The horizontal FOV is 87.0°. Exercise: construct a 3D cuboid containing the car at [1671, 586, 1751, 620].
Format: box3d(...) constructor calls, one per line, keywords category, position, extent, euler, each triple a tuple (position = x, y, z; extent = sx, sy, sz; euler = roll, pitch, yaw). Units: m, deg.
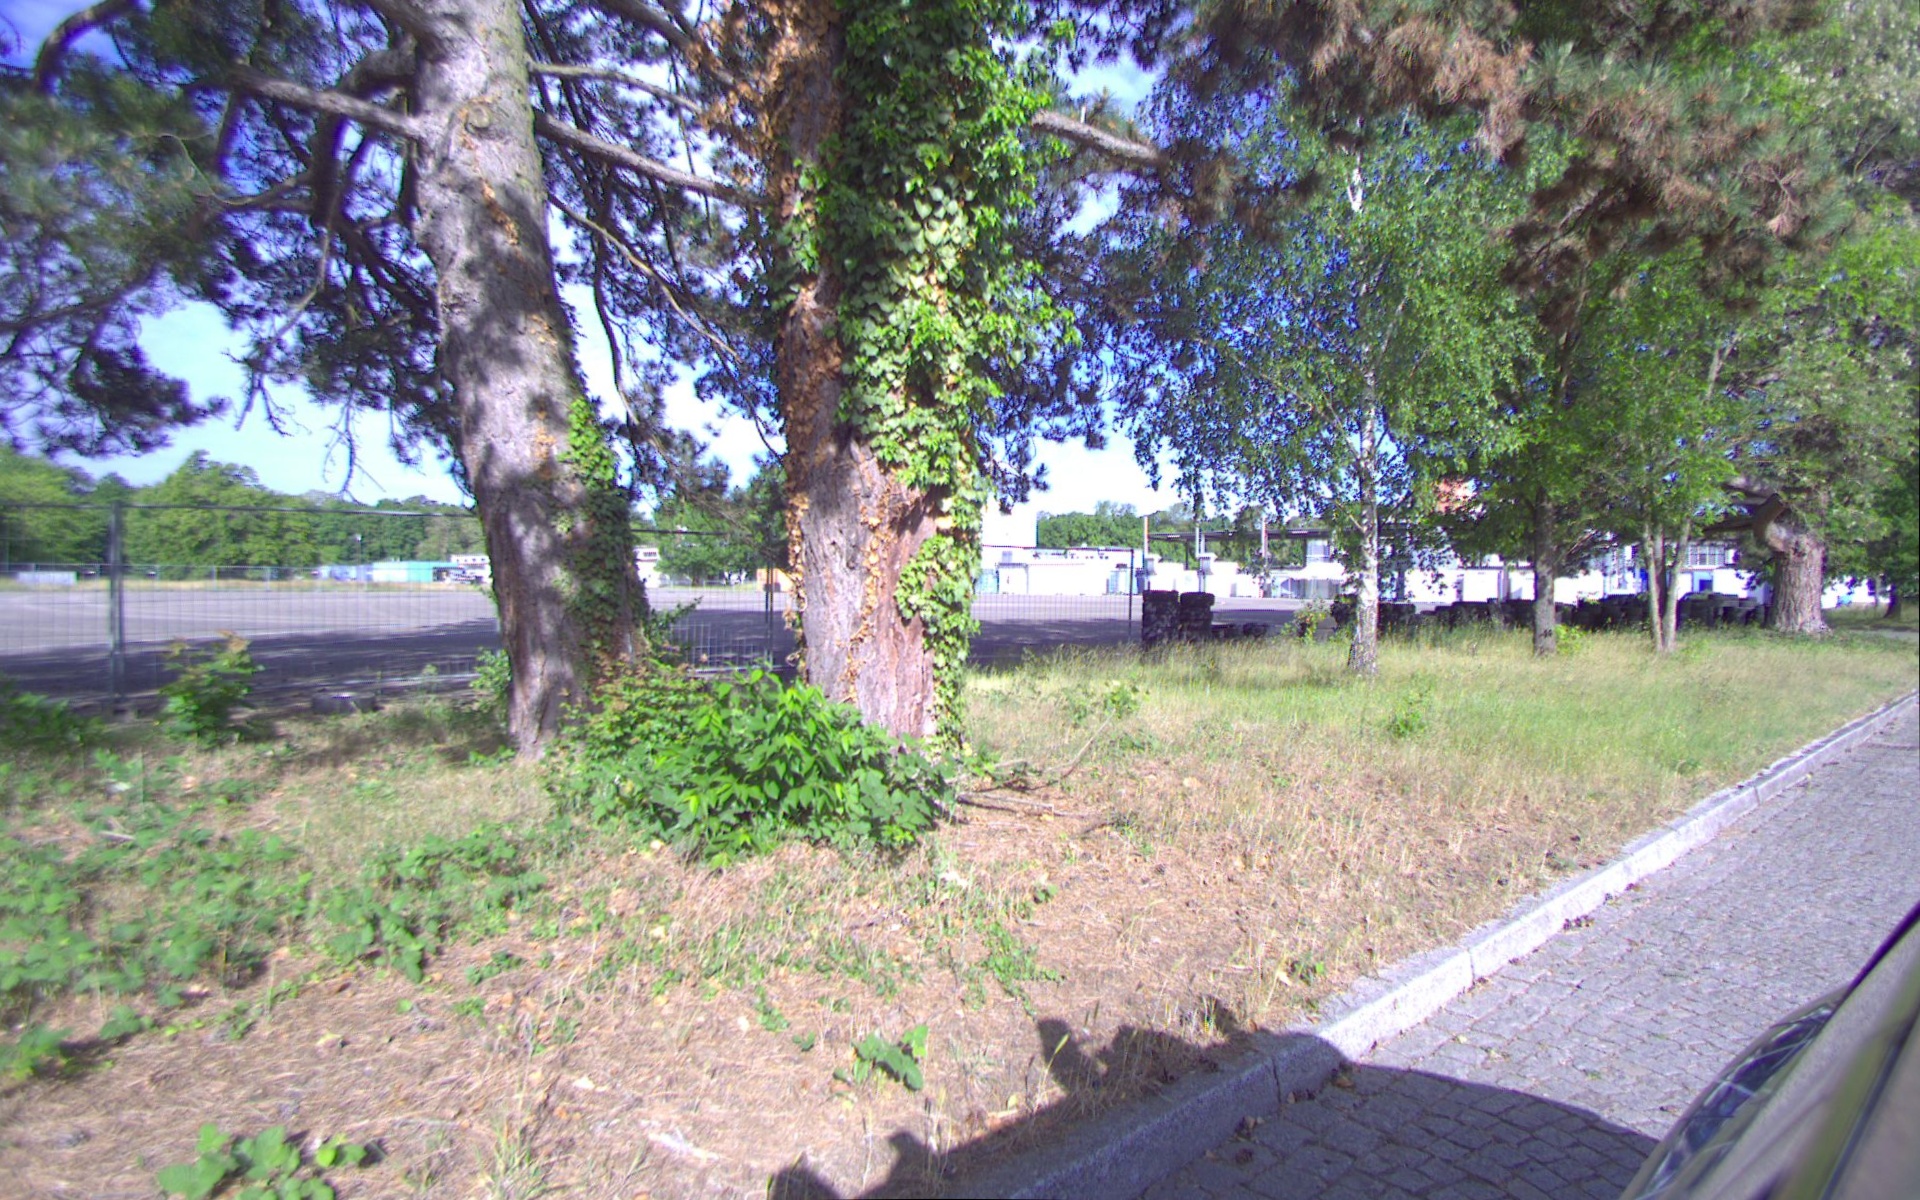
box3d(category="car", position=(34.799, 0.115, 46.868), extent=(3.924, 1.467, 1.848), euler=(0, 1, -36))
